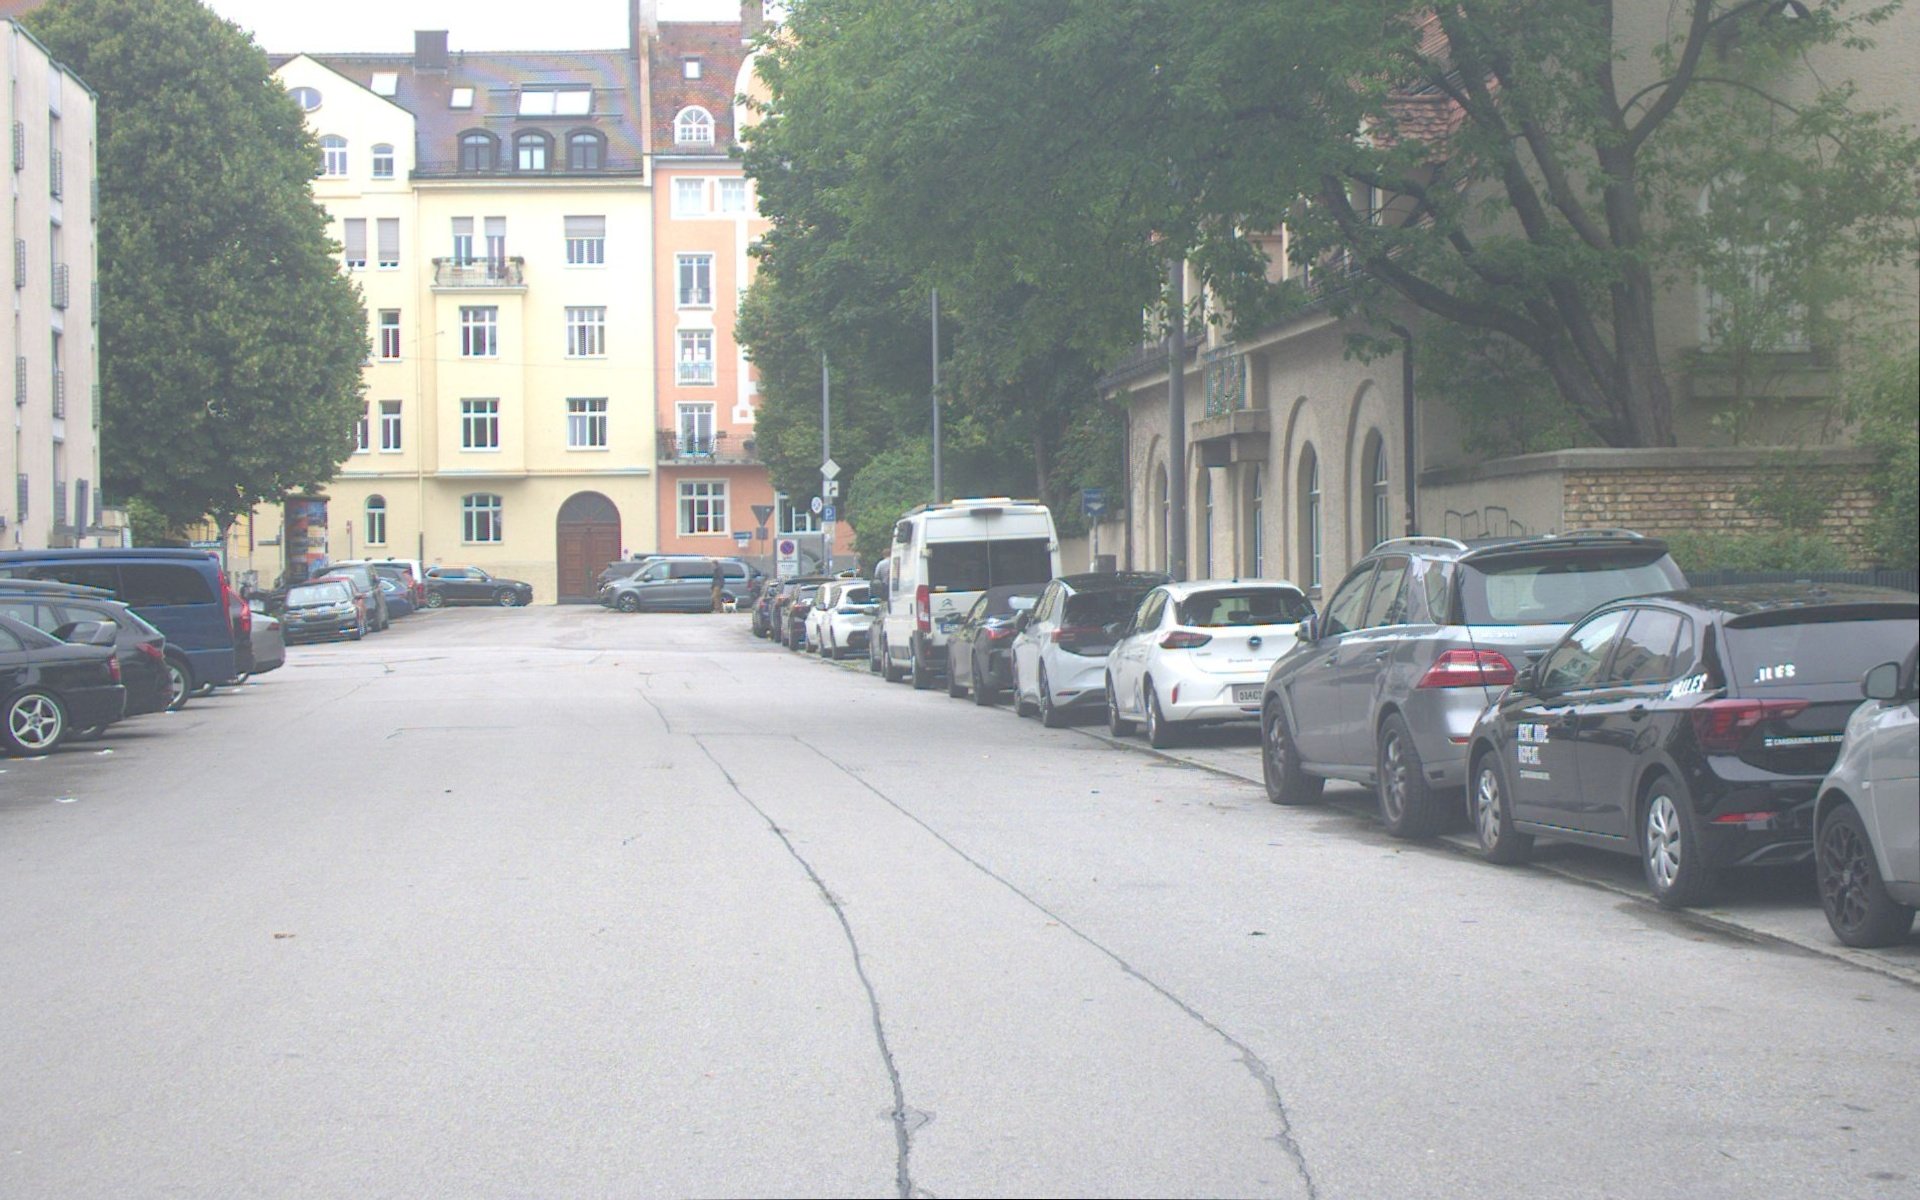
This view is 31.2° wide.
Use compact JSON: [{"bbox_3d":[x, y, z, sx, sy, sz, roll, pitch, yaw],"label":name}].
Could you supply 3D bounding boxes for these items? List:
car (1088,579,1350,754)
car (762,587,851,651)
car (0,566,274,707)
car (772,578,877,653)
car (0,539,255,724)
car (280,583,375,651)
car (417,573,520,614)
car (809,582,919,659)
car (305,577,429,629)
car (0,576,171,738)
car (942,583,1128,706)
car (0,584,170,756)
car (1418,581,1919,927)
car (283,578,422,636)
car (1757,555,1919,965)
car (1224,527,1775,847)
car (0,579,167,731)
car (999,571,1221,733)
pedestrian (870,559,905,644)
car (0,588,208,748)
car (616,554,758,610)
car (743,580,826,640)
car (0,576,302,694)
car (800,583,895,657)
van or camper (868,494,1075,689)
[{"bbox_3d":[2.279,0.567,31.216,1.685,1.436,4.001,-2,0,-5],"label":"car"},{"bbox_3d":[-3.665,0.430,81.721,1.669,1.339,3.839,-2,2,-9],"label":"car"},{"bbox_3d":[-11.467,0.472,45.938,4.107,1.702,1.737,-2,1,-36],"label":"car"},{"bbox_3d":[-3.028,0.316,76.312,1.802,1.461,3.839,-2,2,-10],"label":"car"},{"bbox_3d":[-10.735,0.374,40.839,4.205,2.059,1.737,-2,1,-35],"label":"car"},{"bbox_3d":[-15.343,0.395,83.536,1.834,1.503,4.001,-4,1,-6],"label":"car"},{"bbox_3d":[-19.712,-0.259,138.039,3.986,1.581,1.703,-1,0,-5],"label":"car"},{"bbox_3d":[-1.903,0.385,67.145,1.707,1.403,4.131,-2,0,-7],"label":"car"},{"bbox_3d":[-20.214,0.105,117.335,3.986,1.503,1.840,-4,1,-6],"label":"car"},{"bbox_3d":[-10.573,0.629,35.802,4.204,1.604,1.737,-2,1,-31],"label":"car"},{"bbox_3d":[0.858,0.509,42.065,1.707,1.364,4.441,-2,0,-6],"label":"car"},{"bbox_3d":[-9.374,0.666,30.536,4.205,1.456,1.737,-2,1,-36],"label":"car"},{"bbox_3d":[3.802,0.655,17.059,1.876,1.422,4.223,-2,1,-9],"label":"car"},{"bbox_3d":[-18.621,0.214,105.469,3.986,1.503,1.840,-4,1,-6],"label":"car"},{"bbox_3d":[4.421,0.564,12.959,1.738,1.531,2.947,-2,0,-9],"label":"car"},{"bbox_3d":[3.222,0.467,21.668,1.993,1.705,4.886,-2,1,-9],"label":"car"},{"bbox_3d":[-11.126,0.644,37.997,4.205,1.604,1.737,-2,1,-35],"label":"car"},{"bbox_3d":[1.522,0.500,36.307,1.707,1.532,4.240,-3,1,-5],"label":"car"},{"bbox_3d":[-1.740,0.033,82.263,0.773,2.007,0.563,0,0,-6],"label":"pedestrian"},{"bbox_3d":[-9.614,0.687,33.306,4.203,1.456,1.737,-2,1,-27],"label":"car"},{"bbox_3d":[-9.268,-0.614,116.453,4.702,1.874,1.840,0,0,-7],"label":"car"},{"bbox_3d":[-4.434,0.237,86.589,1.669,1.339,3.839,-2,2,-9],"label":"car"},{"bbox_3d":[-12.265,0.516,52.110,4.107,1.604,1.737,-2,1,-38],"label":"car"},{"bbox_3d":[-2.383,0.395,72.064,1.707,1.461,3.838,-2,0,-5],"label":"car"},{"bbox_3d":[0.081,-0.132,48.886,2.192,2.541,5.729,-2,1,-7],"label":"van or camper"}]
